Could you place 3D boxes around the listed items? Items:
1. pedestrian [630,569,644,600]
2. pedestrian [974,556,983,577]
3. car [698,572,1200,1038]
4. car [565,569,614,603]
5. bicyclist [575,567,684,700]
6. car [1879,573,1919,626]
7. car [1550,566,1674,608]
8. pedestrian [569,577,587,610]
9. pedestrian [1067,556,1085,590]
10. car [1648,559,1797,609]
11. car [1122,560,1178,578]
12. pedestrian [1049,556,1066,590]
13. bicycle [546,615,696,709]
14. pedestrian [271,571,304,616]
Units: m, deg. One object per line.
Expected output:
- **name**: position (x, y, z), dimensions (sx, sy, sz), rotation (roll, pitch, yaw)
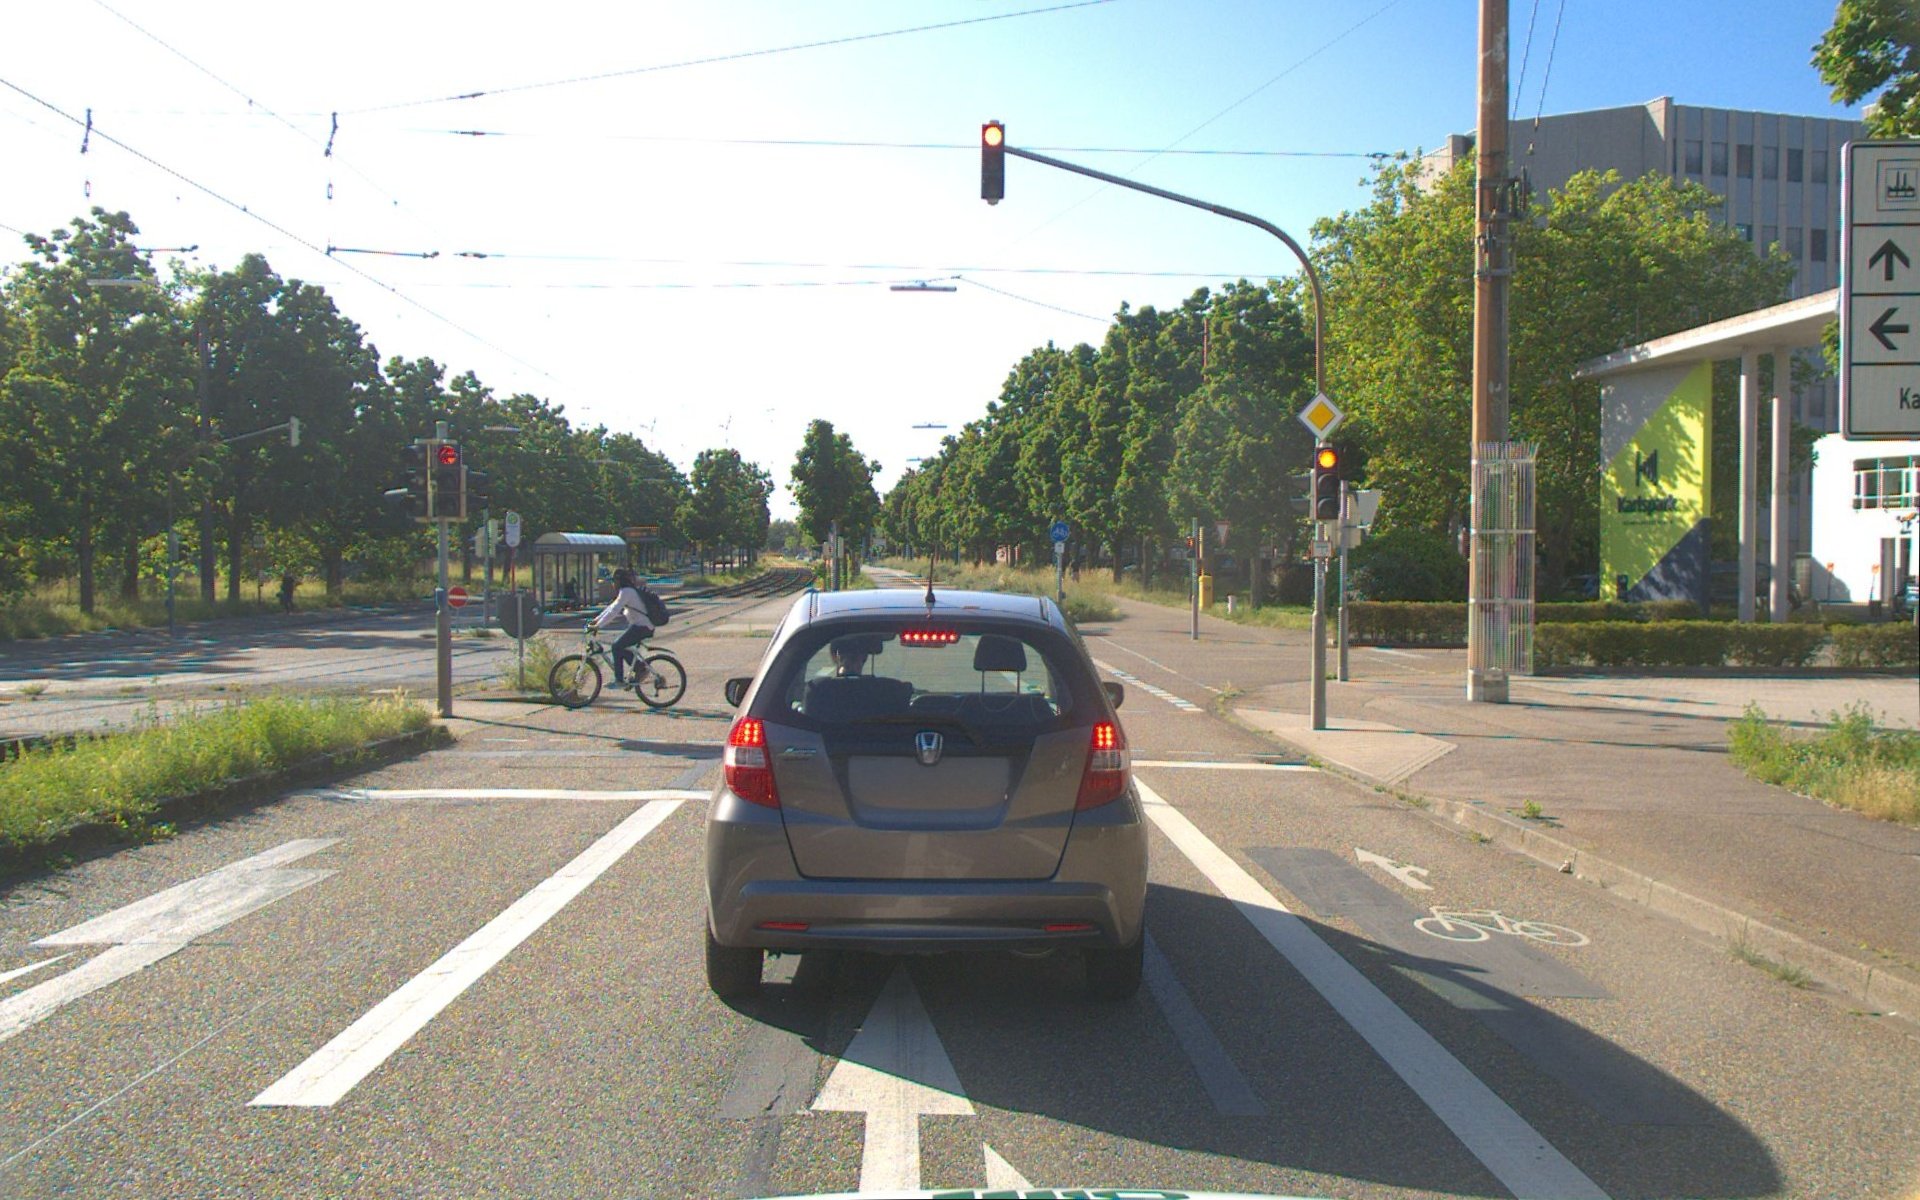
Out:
- **pedestrian**: position (-15.584, -0.762, 79.862), dimensions (0.533, 1.473, 0.559), rotation (-1, 0, -1)
- **pedestrian**: position (1.569, -2.847, 140.613), dimensions (0.710, 1.720, 0.820), rotation (0, -1, -3)
- **car**: position (-0.060, 0.684, 7.399), dimensions (1.666, 1.550, 3.709), rotation (1, 0, -1)
- **car**: position (-22.363, -0.876, 100.033), dimensions (2.052, 1.841, 4.791), rotation (-2, 2, -3)
- **bicyclist**: position (-4.120, 0.410, 20.687), dimensions (1.208, 1.621, 0.805), rotation (0, 0, -2)
- **car**: position (30.634, -0.019, 50.744), dimensions (3.914, 1.605, 1.950), rotation (0, 1, -10)
- **car**: position (26.636, -0.544, 67.613), dimensions (4.371, 1.715, 1.892), rotation (0, 1, -7)
- **pedestrian**: position (-15.094, -0.262, 65.308), dimensions (0.552, 1.279, 0.580), rotation (-2, 0, -2)
- **pedestrian**: position (6.556, -1.528, 93.630), dimensions (0.865, 1.917, 0.875), rotation (0, 1, -5)
- **car**: position (28.002, -0.611, 60.771), dimensions (4.803, 1.787, 2.083), rotation (0, 1, -16)
- **car**: position (16.627, -2.734, 144.831), dimensions (4.543, 1.582, 1.997), rotation (-1, 1, -7)
- **pedestrian**: position (5.534, -1.543, 93.603), dimensions (0.865, 1.917, 0.875), rotation (0, 1, -5)
- **bicycle**: position (-4.222, 0.768, 20.698), dimensions (1.739, 1.121, 0.698), rotation (0, 0, -2)
- **pedestrian**: position (-26.682, -0.259, 65.590), dimensions (0.744, 1.764, 0.936), rotation (0, 1, 27)
